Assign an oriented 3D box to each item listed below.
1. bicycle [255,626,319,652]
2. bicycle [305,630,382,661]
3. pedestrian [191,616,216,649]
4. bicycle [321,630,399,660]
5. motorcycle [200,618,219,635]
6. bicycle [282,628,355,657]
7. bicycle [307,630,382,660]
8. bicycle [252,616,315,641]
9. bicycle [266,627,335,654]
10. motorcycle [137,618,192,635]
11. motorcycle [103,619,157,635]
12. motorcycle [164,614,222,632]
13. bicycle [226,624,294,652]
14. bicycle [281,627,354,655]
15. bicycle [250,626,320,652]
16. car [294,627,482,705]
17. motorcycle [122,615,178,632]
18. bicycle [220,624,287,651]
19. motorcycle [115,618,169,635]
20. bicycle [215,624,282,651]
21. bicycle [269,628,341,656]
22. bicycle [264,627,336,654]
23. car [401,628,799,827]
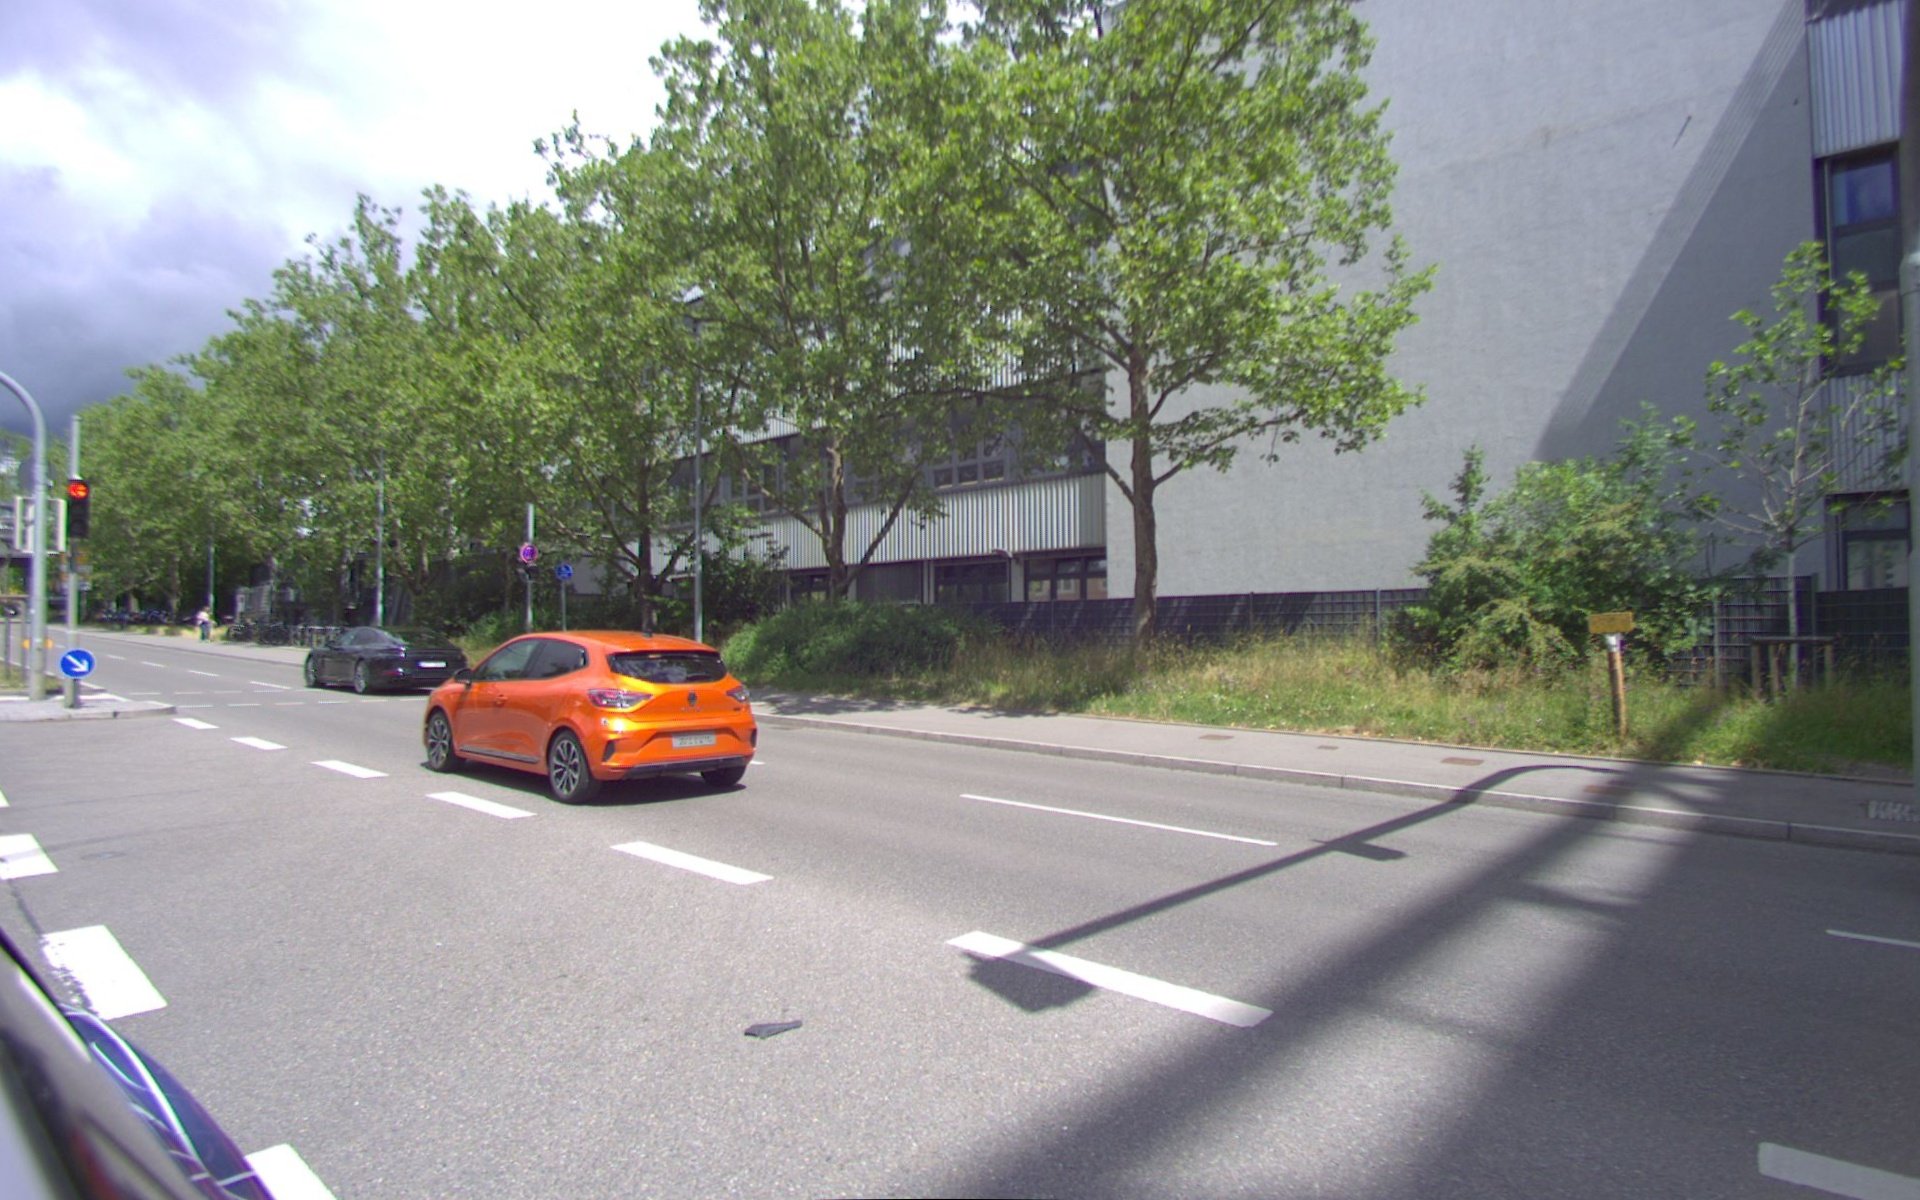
[{"bbox_3d":[-30.589,1.745,46.038,0.615,1.093,2.382,-1,0,40],"label":"bicycle"},{"bbox_3d":[-24.416,1.783,40.140,2.526,1.093,0.616,0,0,-44],"label":"bicycle"},{"bbox_3d":[-36.792,1.566,49.248,0.749,1.544,0.835,-1,0,41],"label":"pedestrian"},{"bbox_3d":[-23.377,1.738,39.478,2.526,1.093,0.616,0,0,-44],"label":"bicycle"},{"bbox_3d":[-50.548,1.801,68.155,2.590,1.044,0.591,-5,-3,44],"label":"motorcycle"},{"bbox_3d":[-26.687,1.766,42.160,0.614,1.093,2.536,-1,0,32],"label":"bicycle"},{"bbox_3d":[-24.917,1.813,41.000,2.525,1.093,0.616,0,0,-42],"label":"bicycle"},{"bbox_3d":[-31.286,1.320,46.833,2.376,1.093,0.617,0,0,-39],"label":"bicycle"},{"bbox_3d":[-29.142,1.767,44.761,2.522,1.093,0.617,0,0,-36],"label":"bicycle"},{"bbox_3d":[-51.759,1.733,65.855,2.790,1.044,0.601,-1,-3,-43],"label":"motorcycle"},{"bbox_3d":[-56.772,1.847,69.257,0.600,1.044,2.792,-5,-3,44],"label":"motorcycle"},{"bbox_3d":[-47.370,1.411,62.514,0.600,1.044,2.792,-5,-3,44],"label":"motorcycle"},{"bbox_3d":[-32.616,1.759,47.198,0.615,1.187,2.529,-1,0,41],"label":"bicycle"},{"bbox_3d":[-27.196,1.721,42.886,0.615,1.093,2.531,-1,0,38],"label":"bicycle"},{"bbox_3d":[-30.155,1.734,45.249,2.525,1.093,0.616,0,0,-43],"label":"bicycle"},{"bbox_3d":[-12.490,1.376,21.977,4.765,1.465,1.973,-1,-3,40],"label":"car"},{"bbox_3d":[-52.963,1.526,66.213,0.600,1.044,2.792,-5,-3,44],"label":"motorcycle"},{"bbox_3d":[-33.359,1.740,47.819,0.615,1.187,2.529,-1,0,41],"label":"bicycle"},{"bbox_3d":[-55.031,1.762,68.099,0.600,1.044,2.792,-5,-3,44],"label":"motorcycle"},{"bbox_3d":[-33.993,1.771,48.377,0.615,1.187,2.529,-1,0,41],"label":"bicycle"},{"bbox_3d":[-28.098,1.775,43.448,0.615,1.093,2.530,-1,0,39],"label":"bicycle"},{"bbox_3d":[-28.672,1.757,44.000,0.628,1.093,2.527,-1,0,44],"label":"bicycle"},{"bbox_3d":[-3.553,1.051,9.695,3.900,1.465,1.865,-1,-3,40],"label":"car"}]
